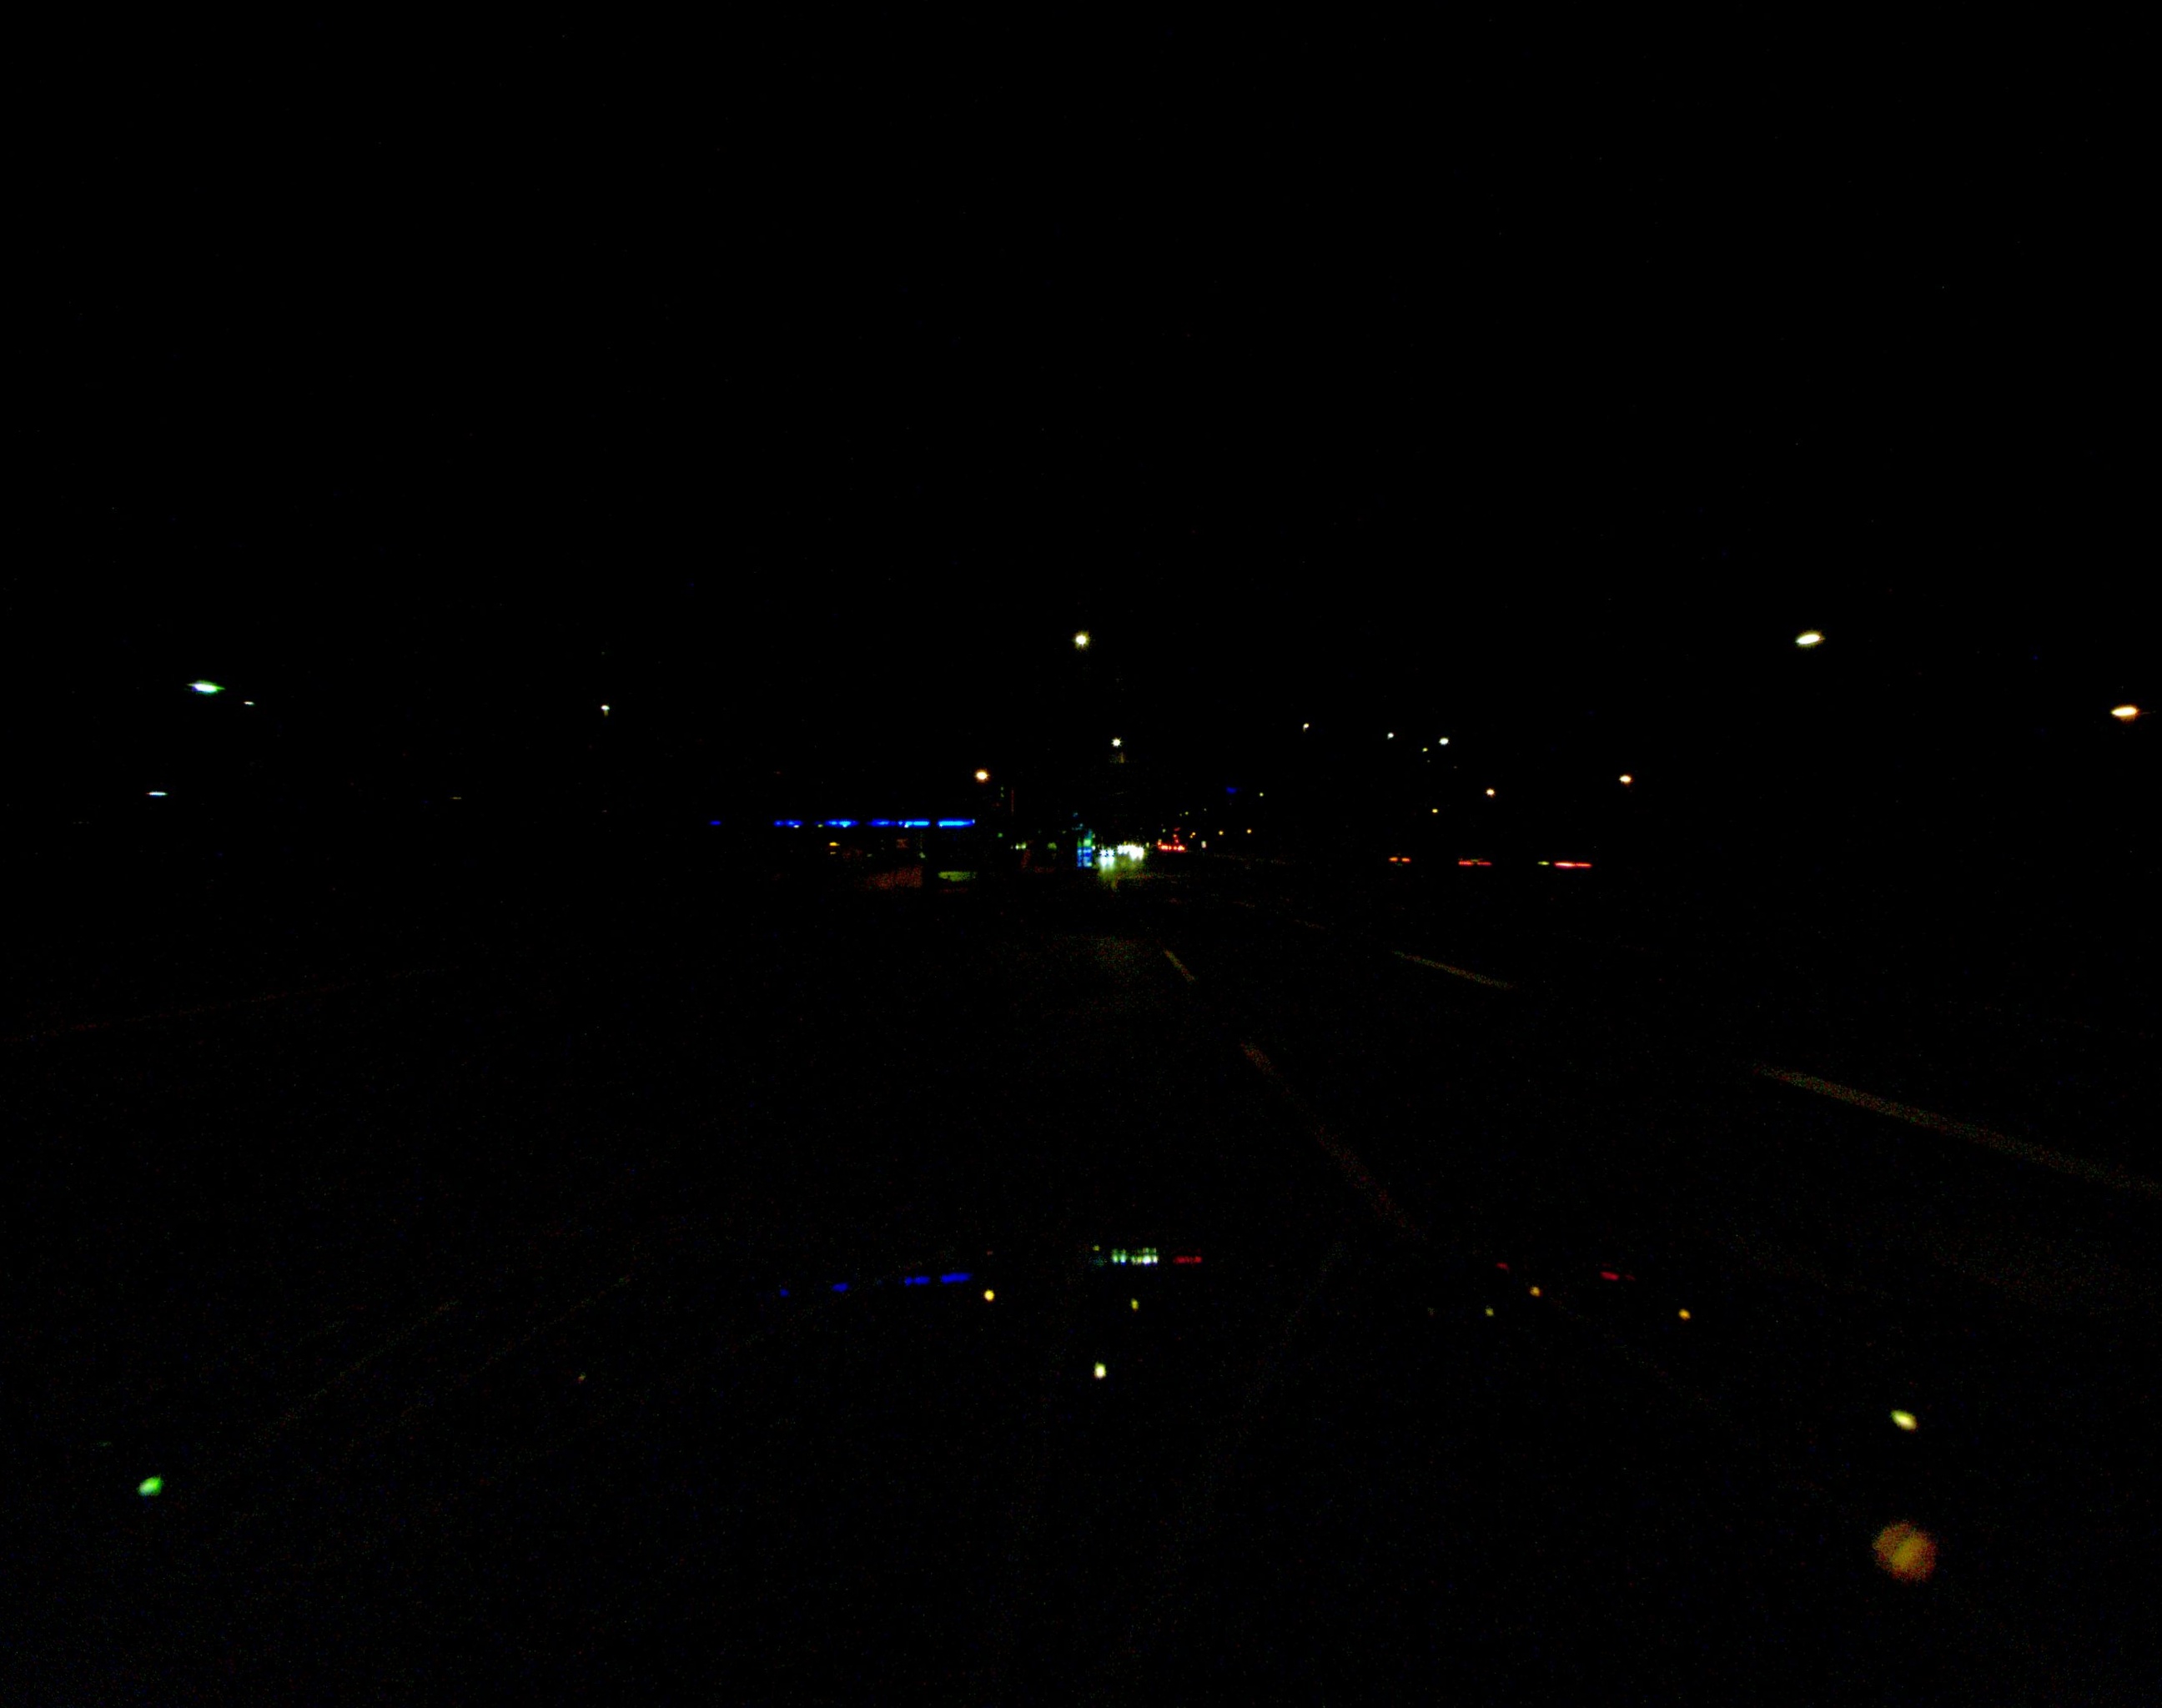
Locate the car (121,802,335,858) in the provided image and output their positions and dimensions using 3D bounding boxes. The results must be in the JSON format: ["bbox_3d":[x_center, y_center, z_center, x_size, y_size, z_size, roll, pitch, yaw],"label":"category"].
[{"bbox_3d":[-24.513,-0.703,21.970,3.997,1.482,1.866,1,2,-1],"label":"car"}]

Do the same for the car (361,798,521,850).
[{"bbox_3d":[-25.343,-1.180,30.241,4.589,1.900,1.999,1,2,-2],"label":"car"}]

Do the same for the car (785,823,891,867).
[{"bbox_3d":[-9.977,-0.392,31.385,3.756,1.578,1.779,2,3,-1],"label":"car"}]

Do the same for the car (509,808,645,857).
[{"bbox_3d":[-19.184,-0.820,29.032,3.996,1.680,1.819,2,2,2],"label":"car"}]

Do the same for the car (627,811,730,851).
[{"bbox_3d":[-19.435,-1.112,36.763,3.995,1.722,1.837,3,3,4],"label":"car"}]

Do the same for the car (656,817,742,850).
[{"bbox_3d":[-19.701,-1.066,39.252,3.649,1.462,1.637,3,3,4],"label":"car"}]

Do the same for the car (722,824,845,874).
[{"bbox_3d":[-10.198,-0.183,26.222,3.572,1.561,1.725,2,2,-3],"label":"car"}]

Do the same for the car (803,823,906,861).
[{"bbox_3d":[-10.052,-0.555,33.890,3.996,1.562,1.738,2,2,2],"label":"car"}]

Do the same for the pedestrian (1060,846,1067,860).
[{"bbox_3d":[-2.394,-0.181,103.472,0.806,1.902,0.794,2,2,10],"label":"pedestrian"}]

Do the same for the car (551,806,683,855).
[{"bbox_3d":[-19.021,-0.973,31.245,4.369,1.716,1.751,3,2,3],"label":"car"}]

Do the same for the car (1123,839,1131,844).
[{"bbox_3d":[12.811,-3.540,213.287,1.991,1.473,4.203,1,2,2],"label":"car"}]

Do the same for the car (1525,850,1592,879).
[{"bbox_3d":[31.395,0.637,50.061,1.836,1.675,3.998,-2,2,-1],"label":"car"}]

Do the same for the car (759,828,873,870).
[{"bbox_3d":[-10.045,-0.214,28.997,3.734,1.481,1.741,1,2,-1],"label":"car"}]

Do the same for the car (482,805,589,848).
[{"bbox_3d":[-26.071,-1.328,36.375,3.819,1.885,1.751,2,2,-2],"label":"car"}]

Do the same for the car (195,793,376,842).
[{"bbox_3d":[-34.897,-1.549,33.618,5.250,1.959,2.183,0,2,-37],"label":"car"}]

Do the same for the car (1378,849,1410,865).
[{"bbox_3d":[29.135,0.280,70.763,1.531,1.263,3.389,-2,2,-1],"label":"car"}]

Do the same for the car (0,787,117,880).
[{"bbox_3d":[-19.627,-0.430,12.910,3.794,1.518,1.729,3,1,-45],"label":"car"}]

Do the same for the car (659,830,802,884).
[{"bbox_3d":[-10.783,0.085,23.395,3.850,1.482,1.735,1,4,-30],"label":"car"}]

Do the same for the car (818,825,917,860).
[{"bbox_3d":[-10.132,-0.580,36.241,4.129,1.514,1.822,1,3,2],"label":"car"}]

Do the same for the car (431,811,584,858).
[{"bbox_3d":[-19.783,-0.674,26.322,3.883,1.425,1.767,2,2,-4],"label":"car"}]

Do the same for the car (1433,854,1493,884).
[{"bbox_3d":[24.475,0.929,48.832,1.805,1.685,3.999,-2,1,0],"label":"car"}]
